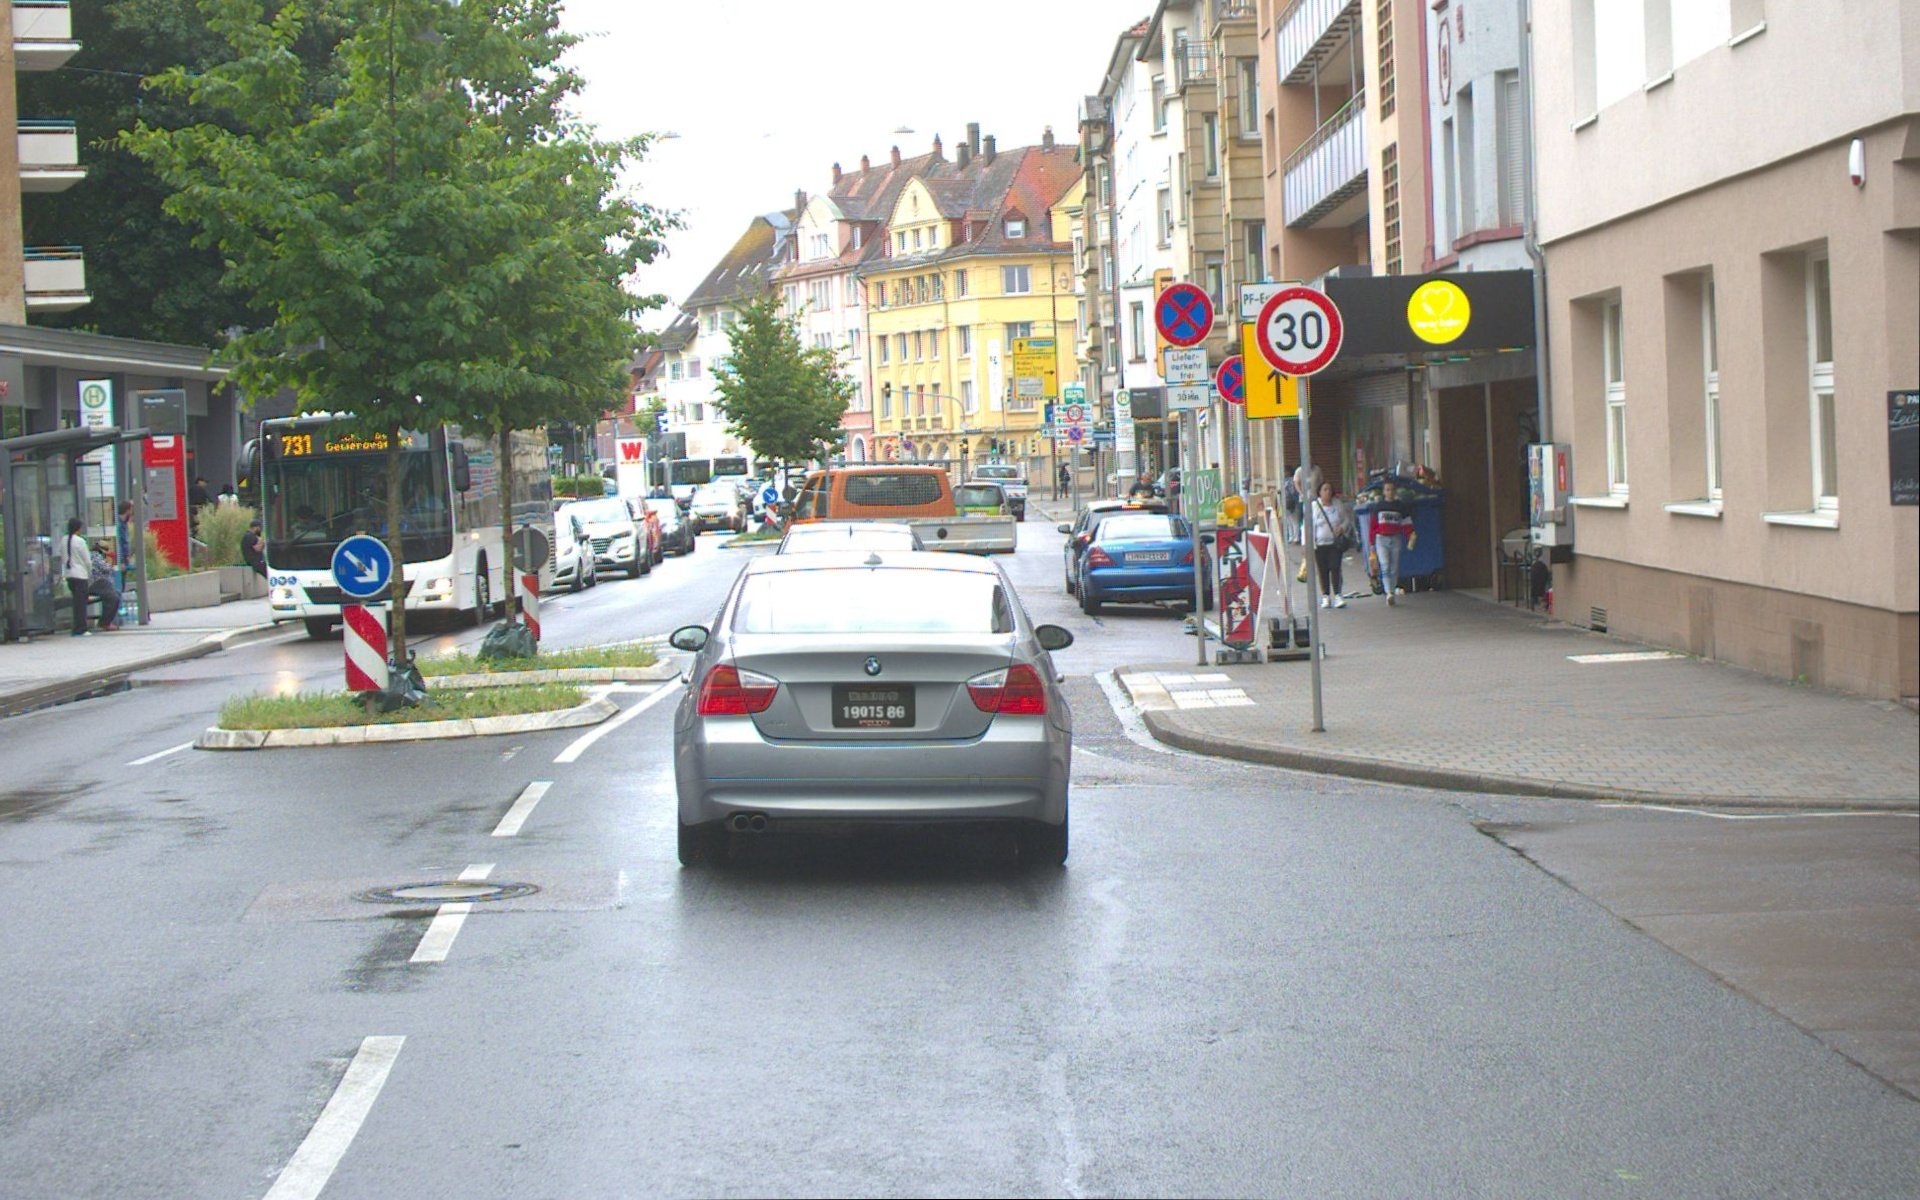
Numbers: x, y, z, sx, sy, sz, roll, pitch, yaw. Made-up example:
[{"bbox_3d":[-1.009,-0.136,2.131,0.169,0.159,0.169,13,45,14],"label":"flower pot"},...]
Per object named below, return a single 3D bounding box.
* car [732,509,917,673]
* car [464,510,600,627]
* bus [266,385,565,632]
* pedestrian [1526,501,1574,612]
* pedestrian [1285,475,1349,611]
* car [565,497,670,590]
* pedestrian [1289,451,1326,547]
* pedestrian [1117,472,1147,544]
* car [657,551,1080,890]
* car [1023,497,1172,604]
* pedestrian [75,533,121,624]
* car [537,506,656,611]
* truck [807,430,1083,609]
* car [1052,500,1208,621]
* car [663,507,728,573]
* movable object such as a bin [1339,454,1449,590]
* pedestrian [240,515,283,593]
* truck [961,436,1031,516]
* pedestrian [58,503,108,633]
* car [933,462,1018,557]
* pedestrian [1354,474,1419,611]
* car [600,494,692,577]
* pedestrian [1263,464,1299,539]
[{"bbox_3d":[-1.259,-0.079,31.921,1.601,1.415,3.288,1,0,-2],"label":"car"},{"bbox_3d":[-7.757,-0.554,62.644,1.993,2.007,4.000,1,0,-1],"label":"car"},{"bbox_3d":[-7.810,-1.206,50.968,2.681,3.190,11.956,1,0,-1],"label":"bus"},{"bbox_3d":[6.541,-0.484,38.151,0.412,1.199,0.357,-4,2,3],"label":"pedestrian"},{"bbox_3d":[4.423,-0.700,42.593,0.749,1.655,0.836,1,0,6],"label":"pedestrian"},{"bbox_3d":[-7.712,-1.246,77.693,1.993,2.007,4.000,1,0,-1],"label":"car"},{"bbox_3d":[6.116,-1.773,60.481,0.615,1.655,0.754,1,0,6],"label":"pedestrian"},{"bbox_3d":[3.419,-1.817,68.166,0.522,1.416,0.430,1,0,9],"label":"pedestrian"},{"bbox_3d":[-0.382,0.481,15.886,1.756,1.357,3.165,0,2,0],"label":"car"},{"bbox_3d":[2.027,-0.720,51.670,1.993,1.514,4.000,1,0,-1],"label":"car"},{"bbox_3d":[-11.835,-0.296,47.192,0.465,1.226,0.544,1,0,1],"label":"pedestrian"},{"bbox_3d":[-7.230,-0.809,68.754,1.993,2.007,4.000,-1,0,-1],"label":"car"},{"bbox_3d":[-0.271,-1.022,44.326,2.215,2.109,4.654,2,1,-18],"label":"truck"},{"bbox_3d":[2.237,-0.512,46.155,1.809,1.514,4.000,1,0,-1],"label":"car"},{"bbox_3d":[-8.427,-1.882,109.767,1.993,2.007,4.001,1,0,-4],"label":"car"},{"bbox_3d":[5.653,-1.001,44.888,1.122,1.697,1.434,-3,0,-2],"label":"movable object such as a bin"},{"bbox_3d":[-12.414,-0.817,61.083,0.619,1.373,0.544,1,0,1],"label":"pedestrian"},{"bbox_3d":[1.207,-4.221,117.628,2.216,2.535,4.780,1,0,-1],"label":"truck"},{"bbox_3d":[-11.583,-0.422,45.406,0.543,1.703,0.466,1,0,-6],"label":"pedestrian"},{"bbox_3d":[0.325,-1.998,77.049,1.705,2.007,4.000,1,0,-2],"label":"car"},{"bbox_3d":[5.210,-0.697,42.017,0.750,1.655,0.754,1,0,6],"label":"pedestrian"},{"bbox_3d":[-7.960,-1.611,87.362,1.993,2.007,4.000,1,0,-1],"label":"car"},{"bbox_3d":[6.131,-1.874,65.595,0.565,1.416,0.796,1,0,13],"label":"pedestrian"}]
